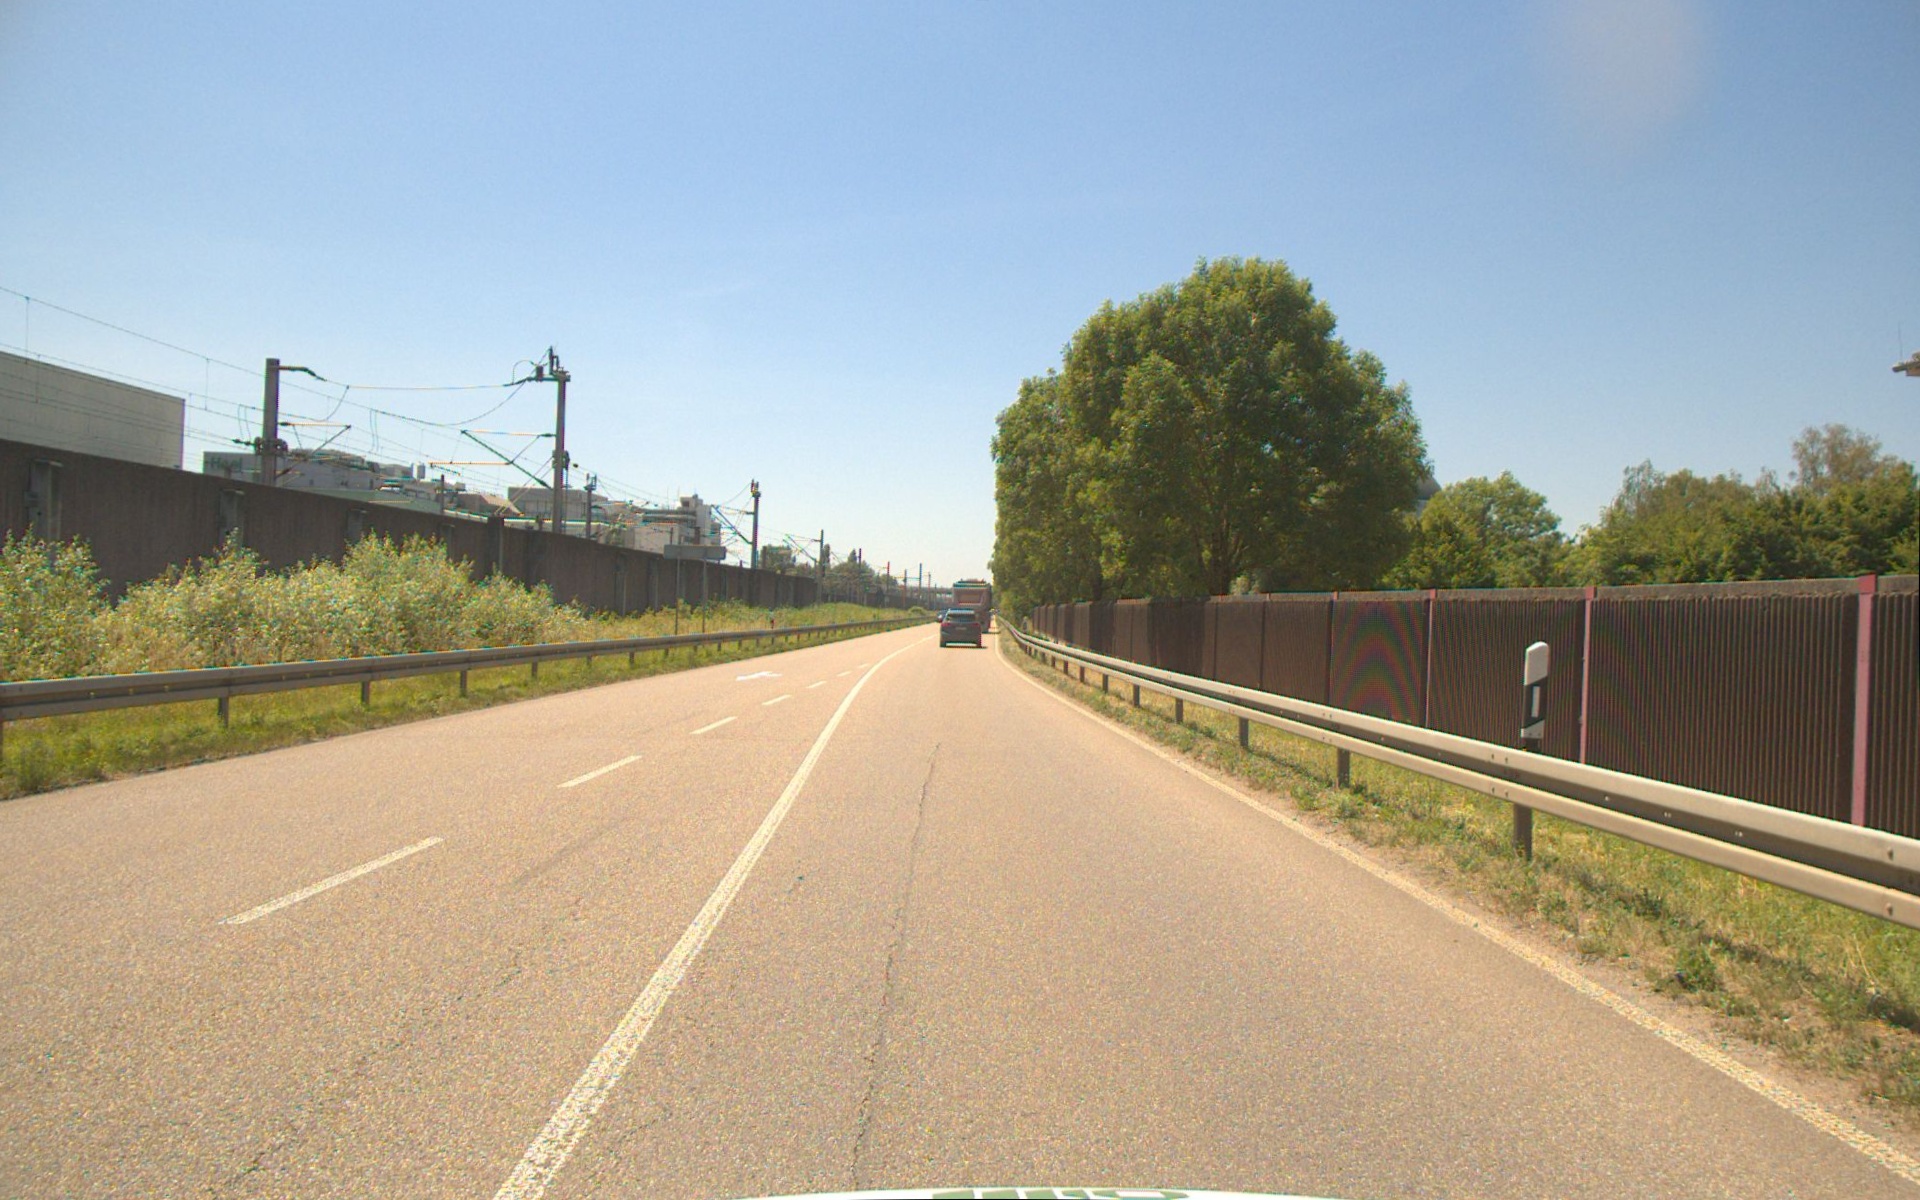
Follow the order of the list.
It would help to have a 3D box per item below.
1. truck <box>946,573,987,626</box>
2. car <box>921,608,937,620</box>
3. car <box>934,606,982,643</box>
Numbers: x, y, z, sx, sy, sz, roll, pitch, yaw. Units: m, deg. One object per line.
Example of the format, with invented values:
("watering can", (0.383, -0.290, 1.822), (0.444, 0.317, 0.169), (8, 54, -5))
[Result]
("truck", (0.518, 0.024, 116.146), (2.713, 3.485, 10.820), (1, -1, 1))
("car", (-4.007, 1.758, 213.234), (1.952, 1.534, 4.000), (1, 0, 1))
("car", (-0.113, 1.053, 71.327), (1.953, 1.534, 3.999), (1, 0, -1))
